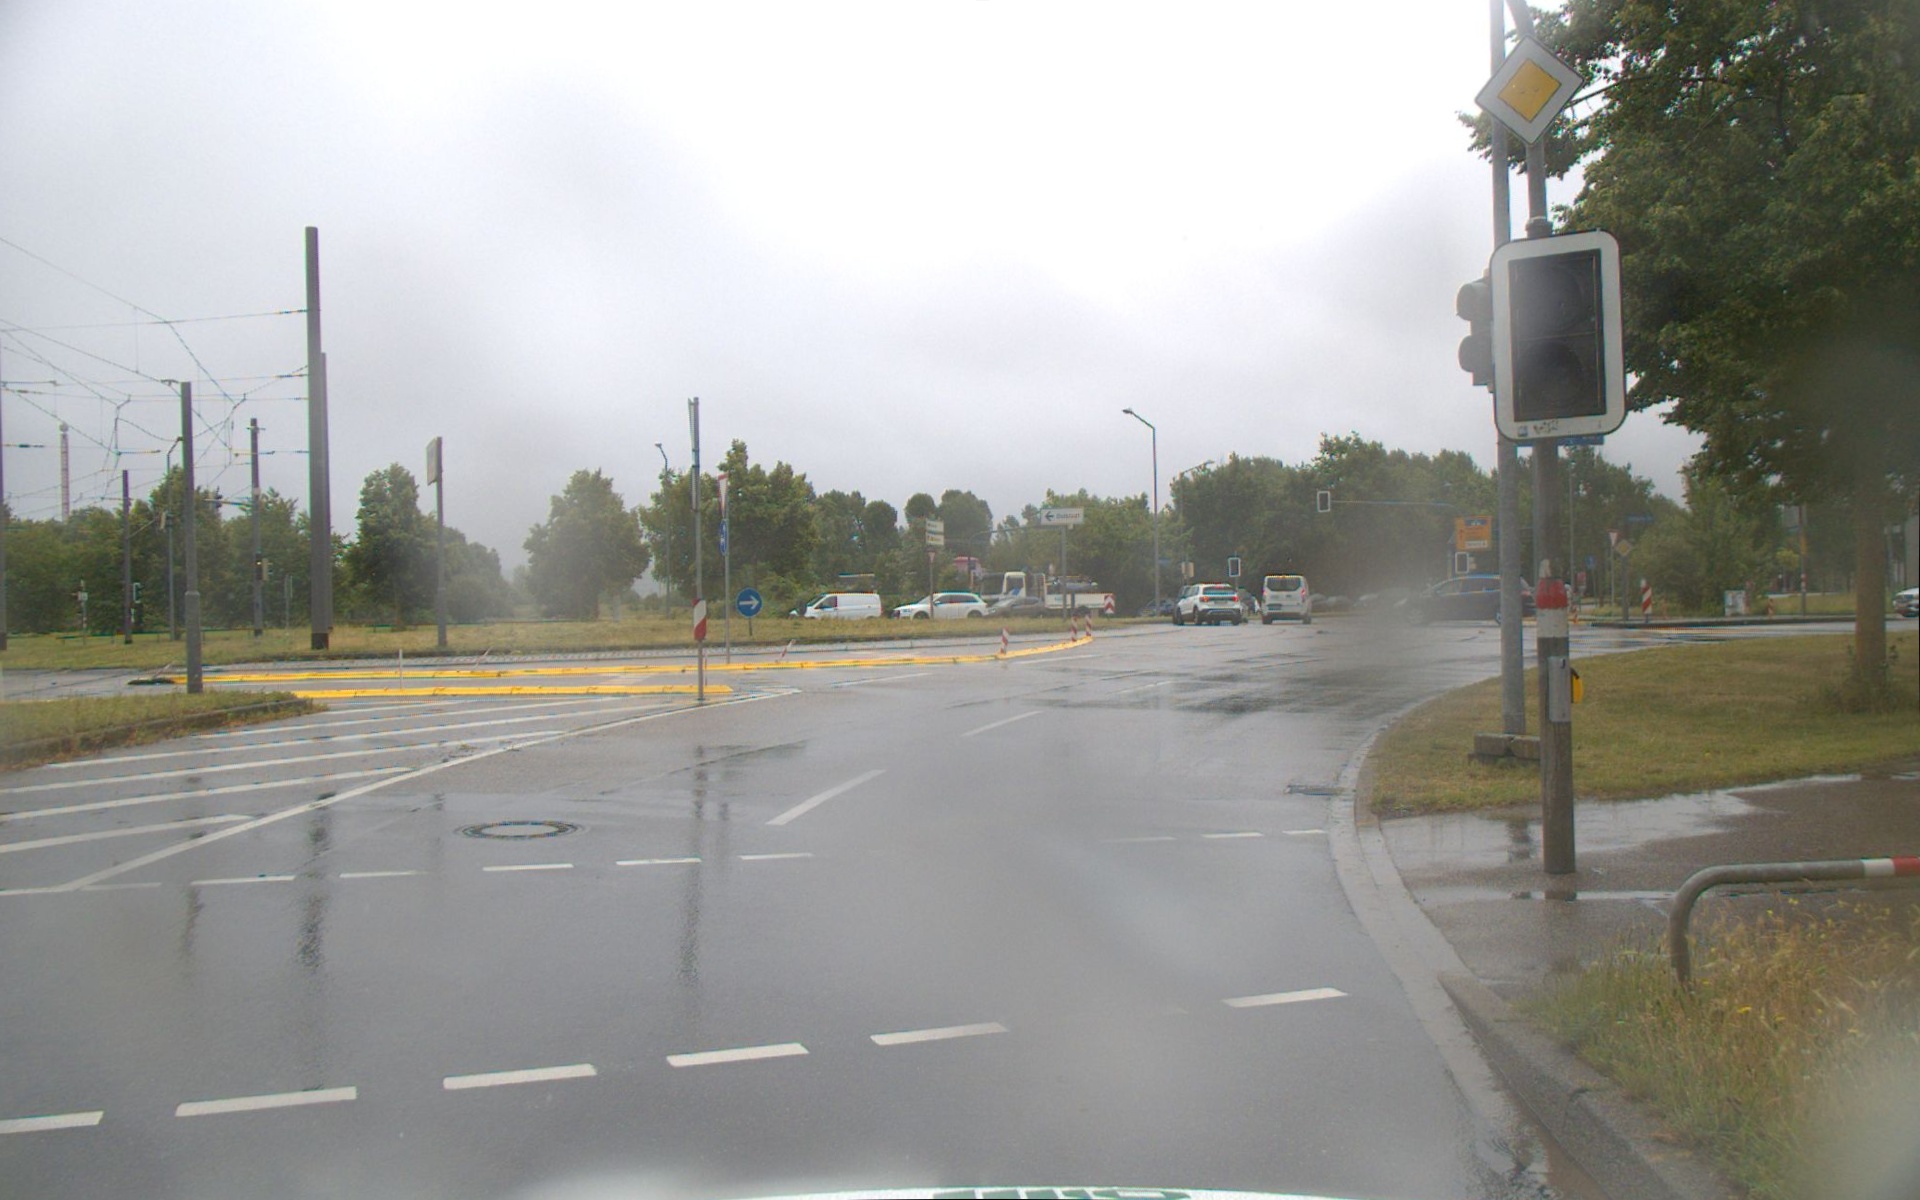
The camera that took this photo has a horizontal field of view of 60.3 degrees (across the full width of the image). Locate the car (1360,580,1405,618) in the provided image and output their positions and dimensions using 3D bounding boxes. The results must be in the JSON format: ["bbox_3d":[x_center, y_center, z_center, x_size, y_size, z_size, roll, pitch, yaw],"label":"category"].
[{"bbox_3d":[17.455,-0.066,68.391,1.652,1.518,3.254,-1,0,12],"label":"car"}]

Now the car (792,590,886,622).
[{"bbox_3d":[-6.106,0.322,83.716,4.471,1.518,1.601,1,0,-22],"label":"car"}]

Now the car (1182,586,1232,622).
[{"bbox_3d":[10.828,0.165,72.492,1.653,1.518,3.252,1,0,18],"label":"car"}]

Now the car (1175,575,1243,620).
[{"bbox_3d":[9.735,-0.090,64.936,1.648,1.676,3.941,1,0,-7],"label":"car"}]

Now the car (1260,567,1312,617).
[{"bbox_3d":[14.006,-0.325,70.879,1.746,2.072,4.002,1,0,17],"label":"car"}]

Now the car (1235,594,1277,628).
[{"bbox_3d":[13.753,0.494,76.746,1.653,1.518,3.253,1,0,14],"label":"car"}]

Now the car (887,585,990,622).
[{"bbox_3d":[-1.044,0.180,81.527,4.788,1.774,1.764,1,0,-25],"label":"car"}]

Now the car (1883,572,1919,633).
[{"bbox_3d":[32.140,-0.034,52.428,4.724,1.842,1.789,-3,1,-1],"label":"car"}]

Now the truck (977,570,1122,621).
[{"bbox_3d":[5.174,-0.224,94.358,8.680,2.759,1.979,1,-1,-31],"label":"truck"}]

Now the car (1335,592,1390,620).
[{"bbox_3d":[27.159,0.412,111.588,1.965,1.780,3.975,1,0,42],"label":"car"}]

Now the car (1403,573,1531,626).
[{"bbox_3d":[16.906,-0.009,55.136,3.906,1.676,1.789,1,0,22],"label":"car"}]
